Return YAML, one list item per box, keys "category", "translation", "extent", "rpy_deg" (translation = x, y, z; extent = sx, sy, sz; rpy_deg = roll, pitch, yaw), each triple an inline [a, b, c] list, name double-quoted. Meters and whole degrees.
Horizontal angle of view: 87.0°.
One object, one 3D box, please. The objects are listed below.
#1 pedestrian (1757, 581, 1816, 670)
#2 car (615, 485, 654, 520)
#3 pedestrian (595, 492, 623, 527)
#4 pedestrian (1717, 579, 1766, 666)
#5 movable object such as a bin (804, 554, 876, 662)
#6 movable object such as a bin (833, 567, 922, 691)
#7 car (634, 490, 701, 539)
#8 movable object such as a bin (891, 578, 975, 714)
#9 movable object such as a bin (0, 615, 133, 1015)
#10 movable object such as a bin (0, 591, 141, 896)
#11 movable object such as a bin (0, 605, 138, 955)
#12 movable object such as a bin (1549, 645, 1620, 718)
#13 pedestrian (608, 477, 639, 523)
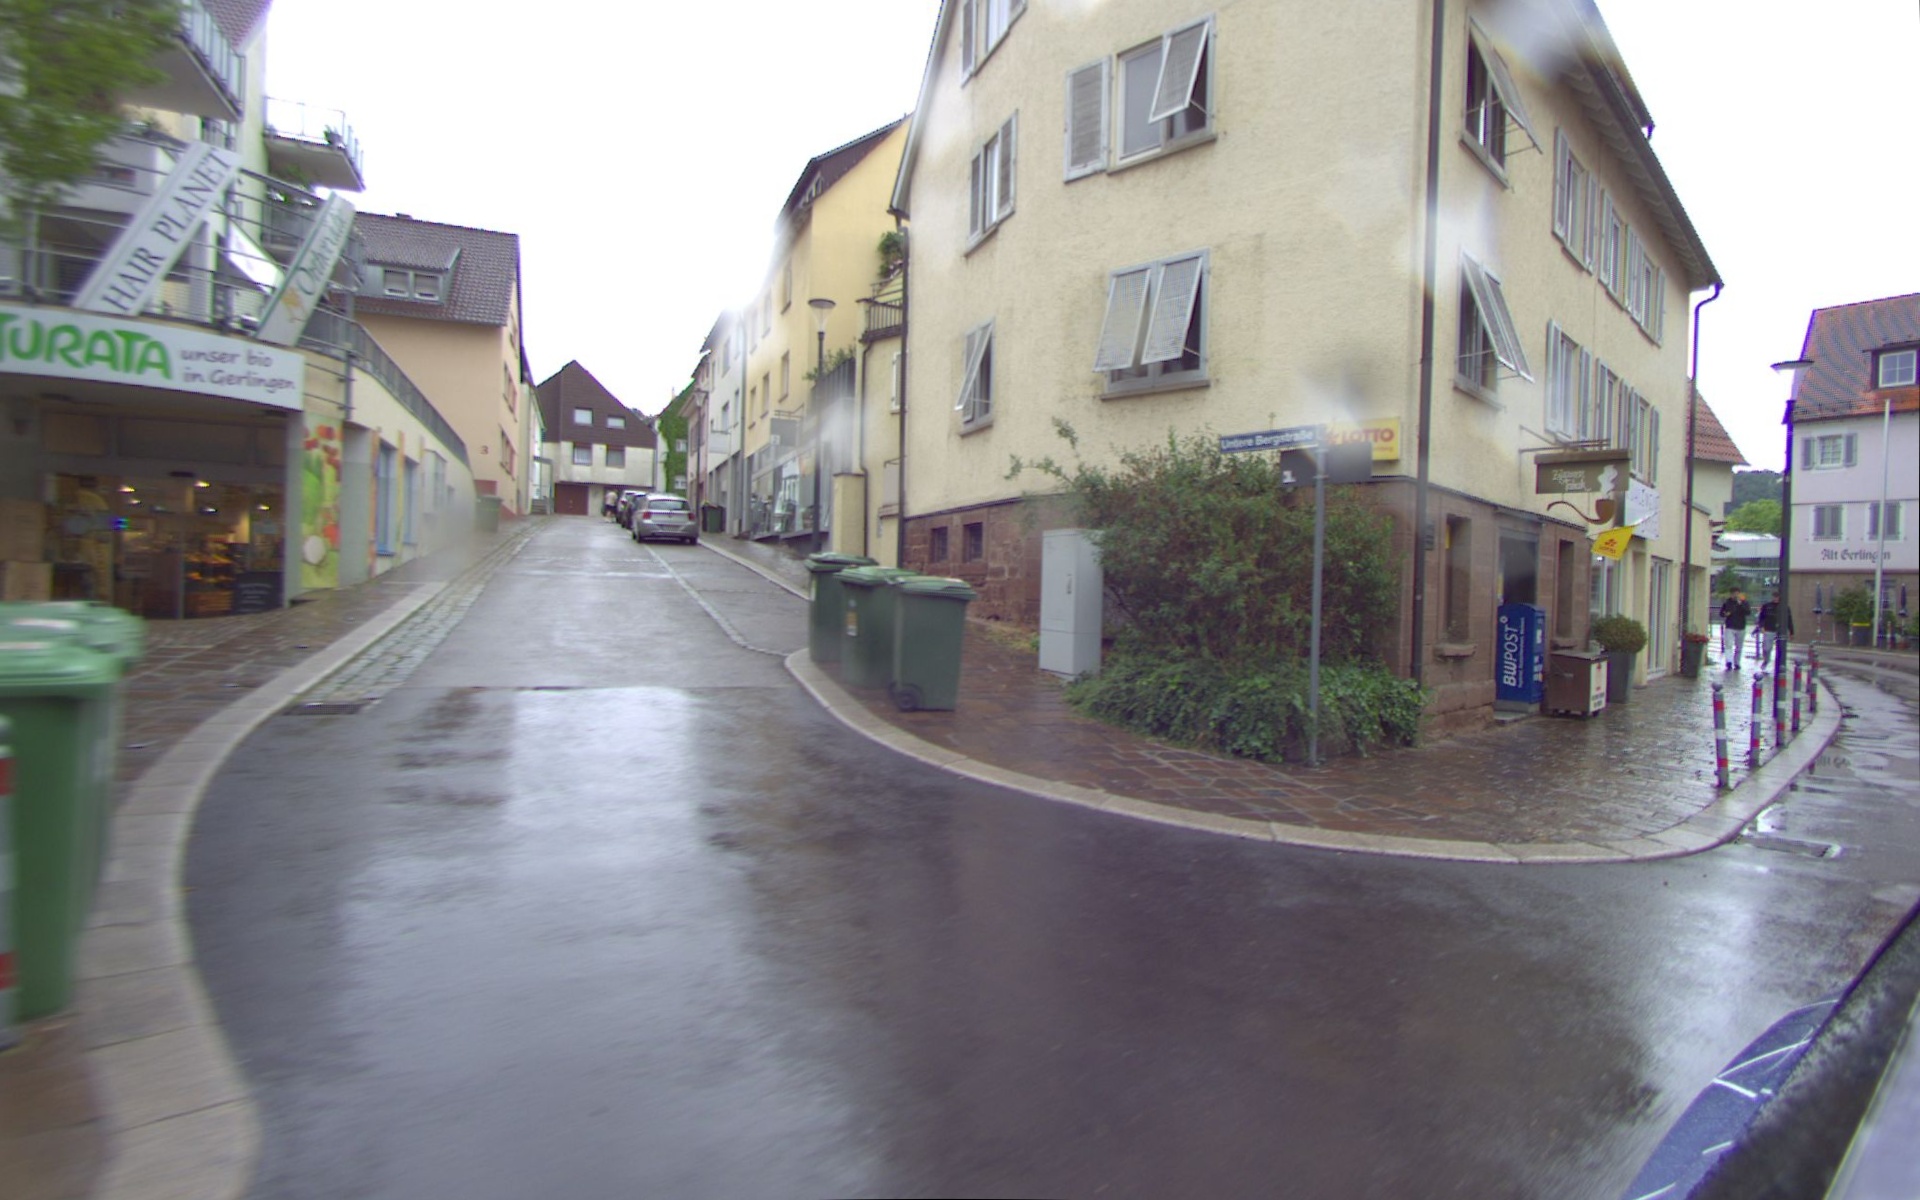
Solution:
- category: "pedestrian"
  translation: [18.657, 0.559, 22.864]
  extent: [0.766, 1.928, 0.798]
  rpy_deg: [2, 2, 25]
- category: "car"
  translation: [-13.844, -4.130, 42.938]
  extent: [1.385, 1.374, 3.246]
  rpy_deg: [0, 5, -21]
- category: "pedestrian"
  translation: [-17.909, -4.620, 51.558]
  extent: [1.300, 1.727, 1.343]
  rpy_deg: [-1, 5, -21]
- category: "pedestrian"
  translation: [18.031, 0.502, 23.367]
  extent: [0.649, 1.926, 0.653]
  rpy_deg: [3, 3, 25]
- category: "movable object such as a bin"
  translation: [-1.239, 0.069, 10.424]
  extent: [0.612, 1.069, 0.516]
  rpy_deg: [0, 3, -21]
- category: "movable object such as a bin"
  translation: [-0.757, 0.243, 9.247]
  extent: [0.613, 1.069, 0.515]
  rpy_deg: [-1, 3, -37]
- category: "car"
  translation: [-9.054, -2.661, 31.159]
  extent: [1.665, 1.387, 3.624]
  rpy_deg: [0, 5, -21]
- category: "movable object such as a bin"
  translation: [-0.236, 0.365, 8.400]
  extent: [0.612, 1.069, 0.516]
  rpy_deg: [1, 3, -9]
- category: "movable object such as a bin"
  translation: [-2.799, 0.602, 2.982]
  extent: [0.539, 1.069, 0.502]
  rpy_deg: [-1, 4, -39]
- category: "movable object such as a bin"
  translation: [-3.506, 0.515, 3.891]
  extent: [0.539, 1.069, 0.502]
  rpy_deg: [-1, 4, -39]
- category: "movable object such as a bin"
  translation: [-3.133, 0.572, 3.415]
  extent: [0.539, 1.069, 0.502]
  rpy_deg: [-1, 4, -39]
- category: "movable object such as a bin"
  translation: [8.146, 1.043, 13.188]
  extent: [0.895, 0.846, 0.546]
  rpy_deg: [1, 2, -44]
- category: "pedestrian"
  translation: [-16.698, -4.939, 50.211]
  extent: [1.414, 2.121, 1.452]
  rpy_deg: [-1, 1, -20]
